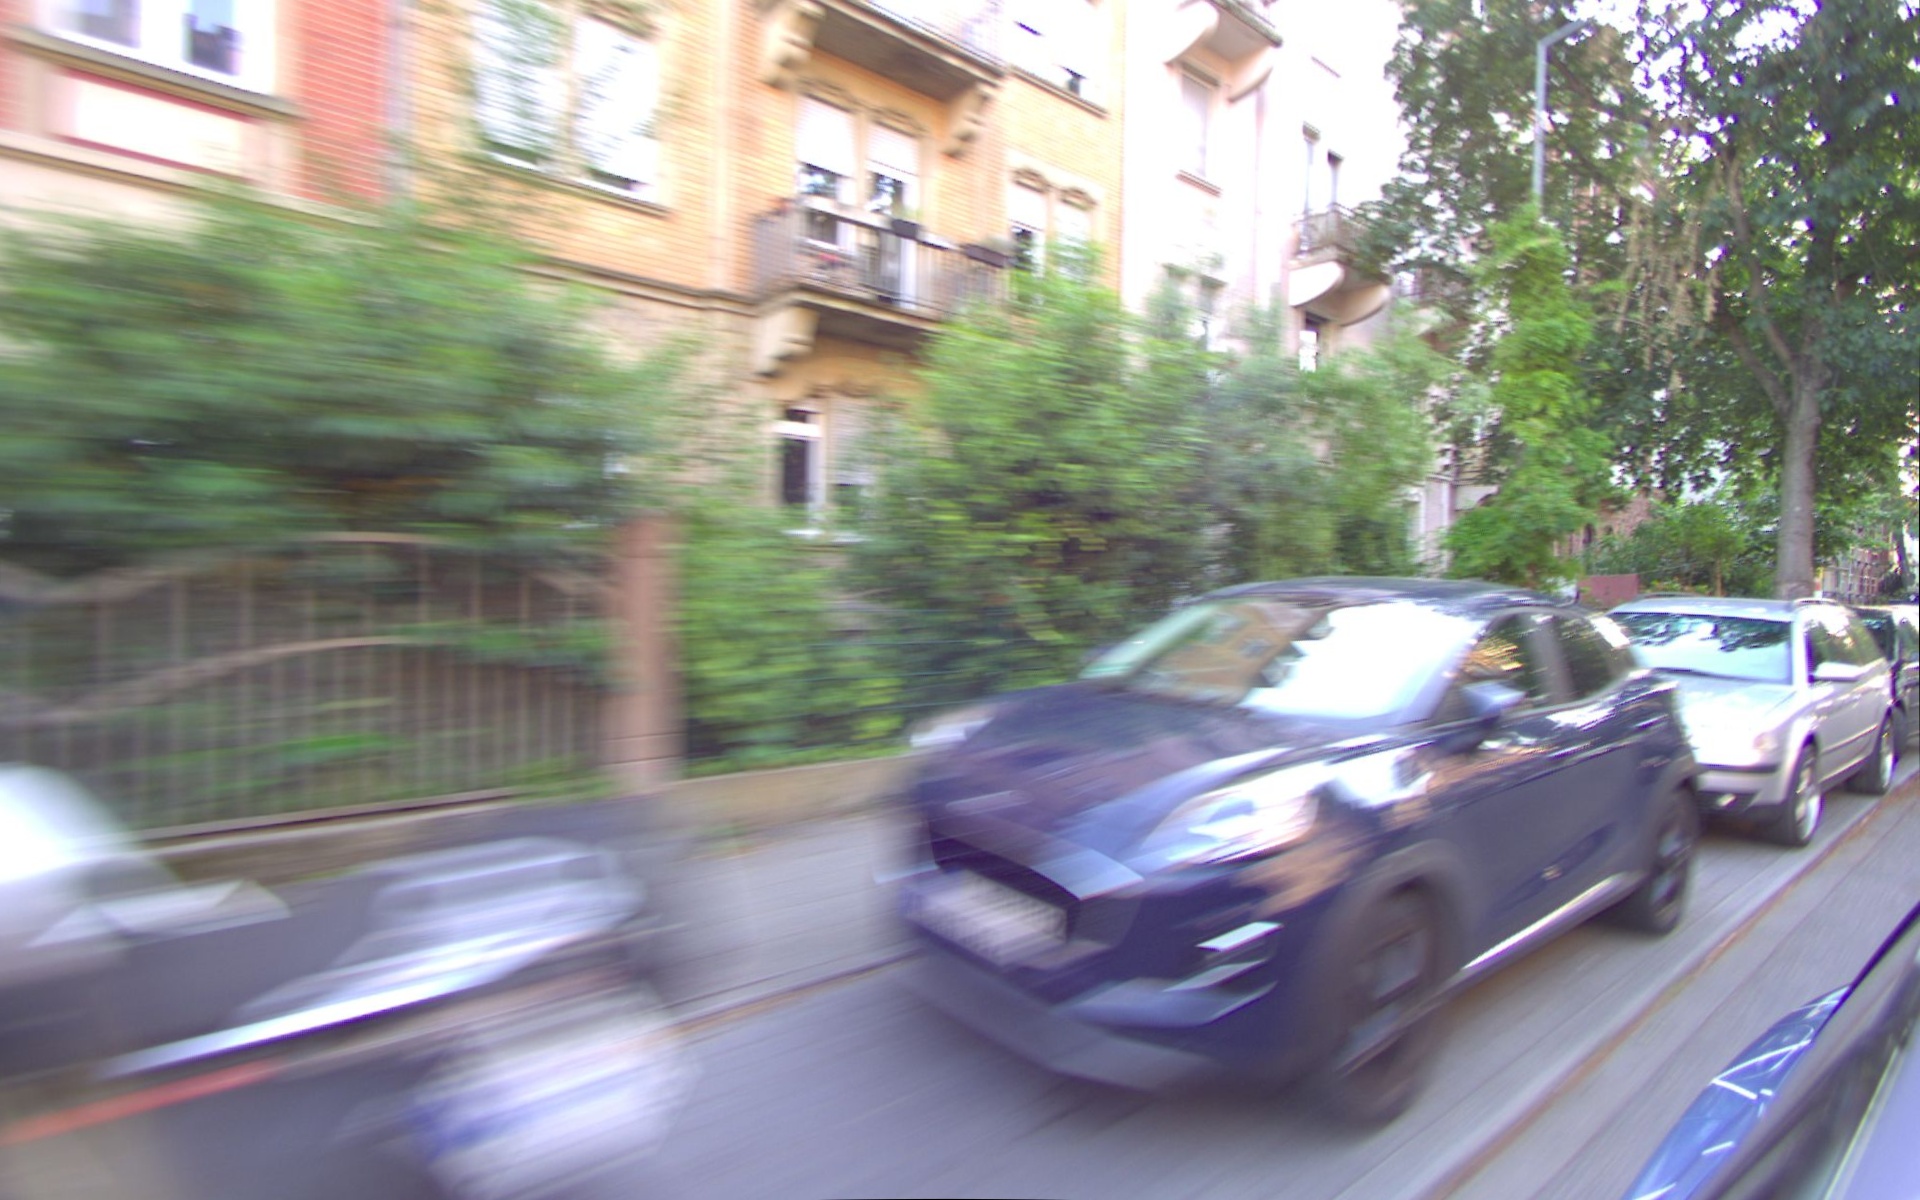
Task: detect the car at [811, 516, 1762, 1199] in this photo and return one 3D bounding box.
[{"bbox_3d":[1.664,0.592,4.211,4.246,1.570,1.724,0,0,-39],"label":"car"}]

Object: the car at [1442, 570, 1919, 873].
[{"bbox_3d":[5.610,0.643,7.537,4.754,1.602,1.760,0,0,-39],"label":"car"}]

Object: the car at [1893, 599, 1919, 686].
[{"bbox_3d":[18.621,0.759,18.889,3.862,1.525,1.477,0,0,-43],"label":"car"}]

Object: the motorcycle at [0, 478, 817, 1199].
[{"bbox_3d":[-1.434,0.589,1.685,2.066,1.500,1.128,3,2,17],"label":"motorcycle"}]

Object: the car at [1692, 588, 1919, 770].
[{"bbox_3d":[9.017,0.674,10.349,3.537,1.544,1.590,0,0,-39],"label":"car"}]

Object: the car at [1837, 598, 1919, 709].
[{"bbox_3d":[14.821,0.744,15.449,4.093,1.525,1.734,0,0,-43],"label":"car"}]
